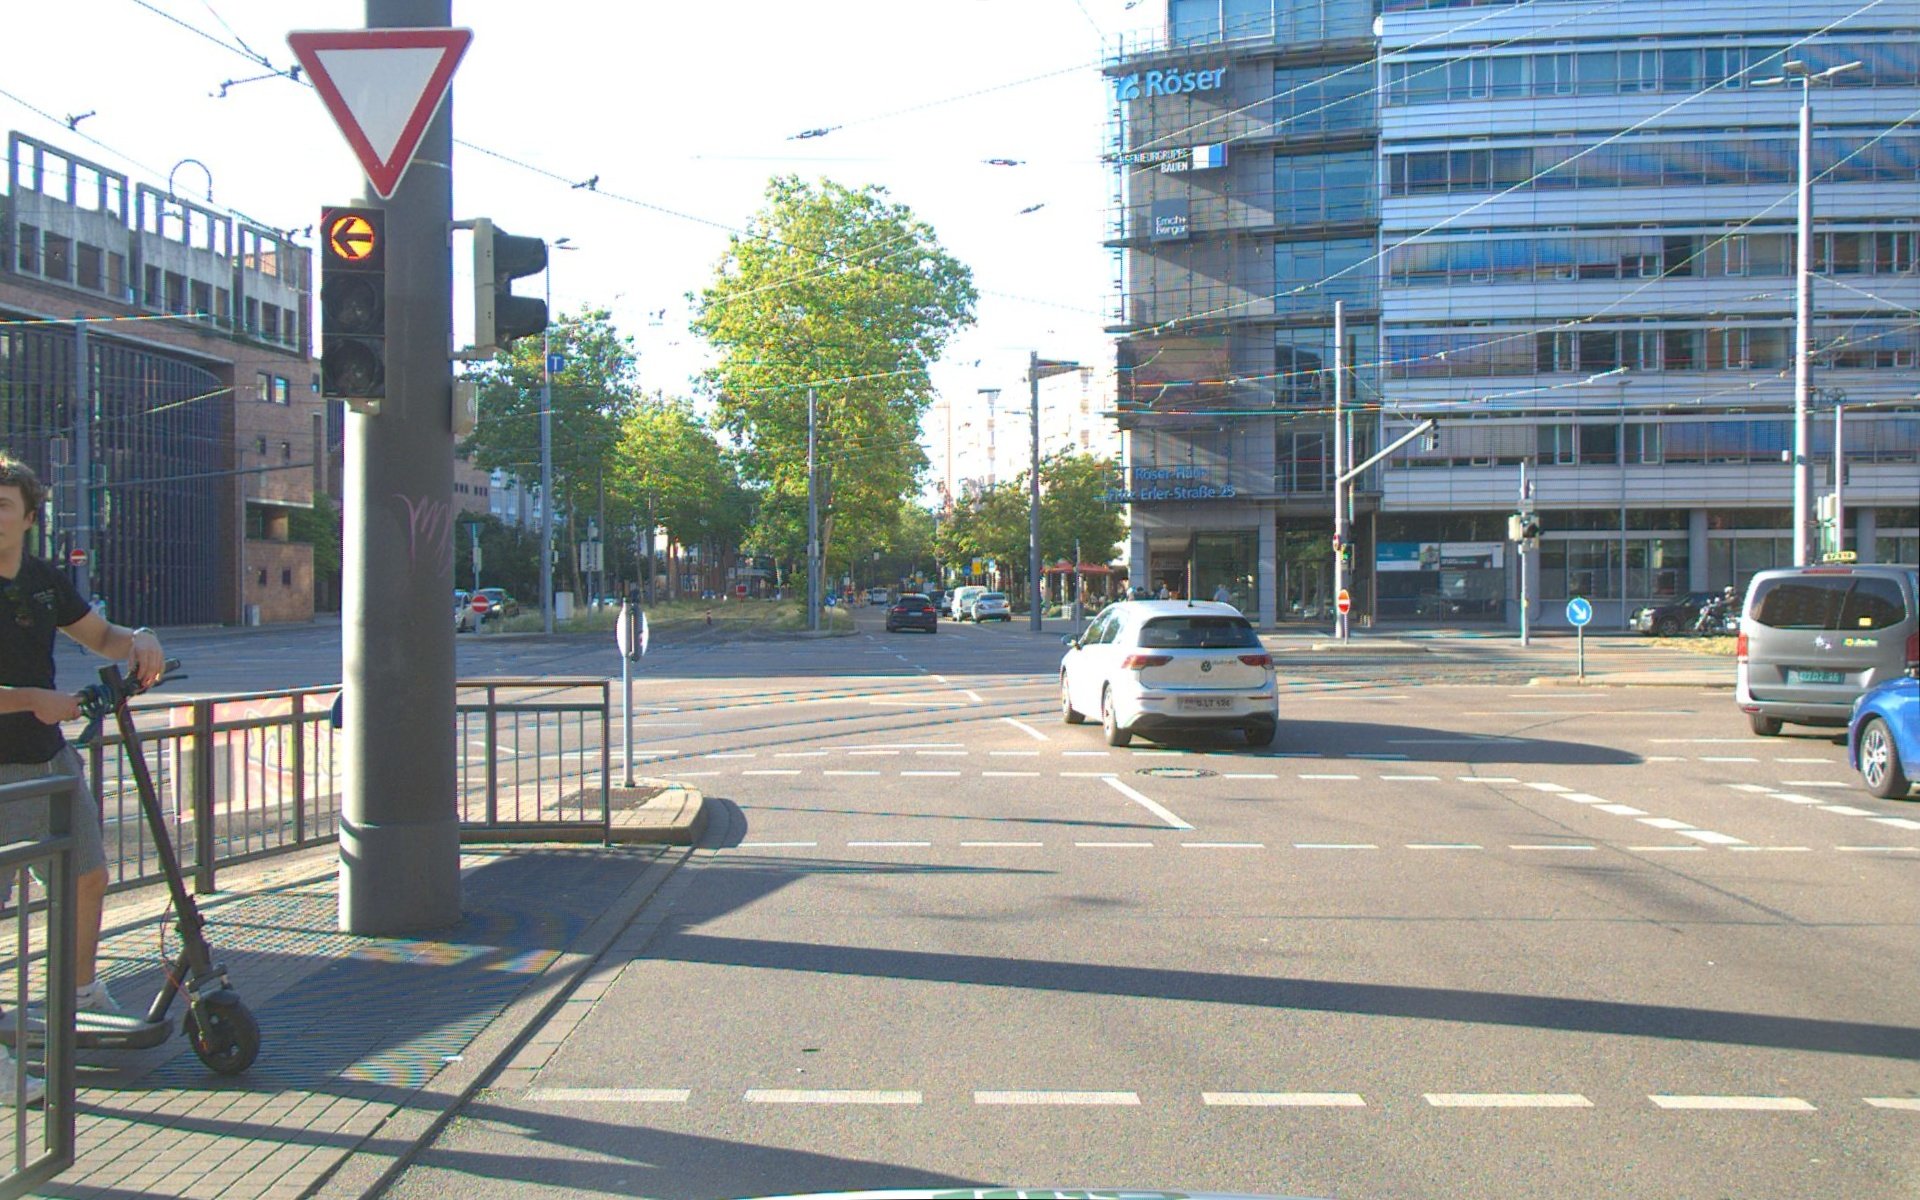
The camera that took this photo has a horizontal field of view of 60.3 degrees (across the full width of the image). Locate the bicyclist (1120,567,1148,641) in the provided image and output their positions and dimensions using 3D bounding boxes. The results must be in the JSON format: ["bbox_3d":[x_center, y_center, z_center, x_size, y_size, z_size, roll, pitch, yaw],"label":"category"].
[{"bbox_3d":[3.470,0.068,32.943,0.477,1.464,0.615,0,0,-1],"label":"bicyclist"}]

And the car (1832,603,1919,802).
[{"bbox_3d":[8.030,0.785,11.654,1.711,1.485,4.214,0,0,3],"label":"car"}]

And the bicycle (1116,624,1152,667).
[{"bbox_3d":[3.443,0.886,32.762,0.481,0.802,1.861,1,0,-1],"label":"bicycle"}]

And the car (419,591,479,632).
[{"bbox_3d":[-20.654,0.434,66.965,1.591,1.604,3.994,-1,0,-7],"label":"car"}]

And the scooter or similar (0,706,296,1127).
[{"bbox_3d":[-2.681,0.891,4.860,1.177,1.100,0.648,-1,0,3],"label":"scooter or similar"}]

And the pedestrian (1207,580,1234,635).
[{"bbox_3d":[9.749,0.282,61.990,0.852,2.049,0.793,1,-1,-1],"label":"pedestrian"}]

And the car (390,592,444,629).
[{"bbox_3d":[-27.218,0.497,82.991,1.832,1.793,3.993,1,0,-8],"label":"car"}]

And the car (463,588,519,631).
[{"bbox_3d":[-21.065,0.409,74.430,1.787,1.821,3.994,-1,0,-7],"label":"car"}]

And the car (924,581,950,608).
[{"bbox_3d":[-1.759,-0.396,126.586,1.953,2.049,3.999,1,0,-1],"label":"car"}]

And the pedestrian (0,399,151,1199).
[{"bbox_3d":[-2.803,0.493,4.084,1.143,1.917,0.854,-1,0,4],"label":"pedestrian"}]

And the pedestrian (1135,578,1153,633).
[{"bbox_3d":[6.901,0.215,61.960,0.574,2.049,0.620,1,-1,0],"label":"pedestrian"}]

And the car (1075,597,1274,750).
[{"bbox_3d":[2.209,0.705,17.943,1.712,1.443,4.001,0,0,1],"label":"car"}]

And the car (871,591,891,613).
[{"bbox_3d":[-8.729,0.200,182.162,1.952,2.049,3.999,1,-5,0],"label":"car"}]

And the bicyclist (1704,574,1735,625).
[{"bbox_3d":[22.848,-0.019,49.740,0.649,1.529,0.613,-1,0,4],"label":"bicyclist"}]

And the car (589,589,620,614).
[{"bbox_3d":[-24.475,0.119,113.969,1.644,1.635,3.994,1,0,-7],"label":"car"}]

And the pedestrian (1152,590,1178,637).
[{"bbox_3d":[7.723,0.510,62.355,0.852,1.737,0.793,1,-1,-1],"label":"pedestrian"}]

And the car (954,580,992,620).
[{"bbox_3d":[0.687,0.009,89.610,1.953,2.049,3.999,1,0,-1],"label":"car"}]

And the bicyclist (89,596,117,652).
[{"bbox_3d":[-25.198,0.700,48.630,0.575,1.654,0.514,-1,0,-6],"label":"bicyclist"}]

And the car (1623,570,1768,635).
[{"bbox_3d":[24.387,0.089,54.938,3.906,2.049,2.000,1,0,-1],"label":"car"}]

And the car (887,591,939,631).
[{"bbox_3d":[-1.803,0.395,62.524,1.729,1.429,4.292,0,0,-5],"label":"car"}]

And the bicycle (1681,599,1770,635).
[{"bbox_3d":[23.020,0.505,49.749,2.359,1.040,0.637,-1,0,4],"label":"bicycle"}]

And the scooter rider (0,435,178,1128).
[{"bbox_3d":[-2.758,0.501,4.871,0.554,1.885,0.680,-1,-2,4],"label":"scooter rider"}]

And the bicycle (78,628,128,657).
[{"bbox_3d":[-25.197,1.231,48.673,0.578,0.784,1.966,-1,0,-5],"label":"bicycle"}]

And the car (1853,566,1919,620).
[{"bbox_3d":[29.322,-0.169,49.794,3.903,1.579,1.798,1,0,4],"label":"car"}]

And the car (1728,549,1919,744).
[{"bbox_3d":[10.398,0.444,18.757,1.969,1.929,4.858,1,1,39],"label":"car"}]

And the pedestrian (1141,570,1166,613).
[{"bbox_3d":[10.385,-0.448,88.656,1.285,2.228,1.171,1,-1,5],"label":"pedestrian"}]

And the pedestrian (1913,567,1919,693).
[{"bbox_3d":[13.869,0.423,23.254,0.663,1.789,0.742,-1,0,19],"label":"pedestrian"}]

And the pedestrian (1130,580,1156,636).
[{"bbox_3d":[6.860,0.303,62.036,0.832,2.049,0.707,1,-1,-2],"label":"pedestrian"}]

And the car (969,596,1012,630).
[{"bbox_3d":[1.502,0.639,82.865,1.988,1.624,3.999,1,0,-1],"label":"car"}]
